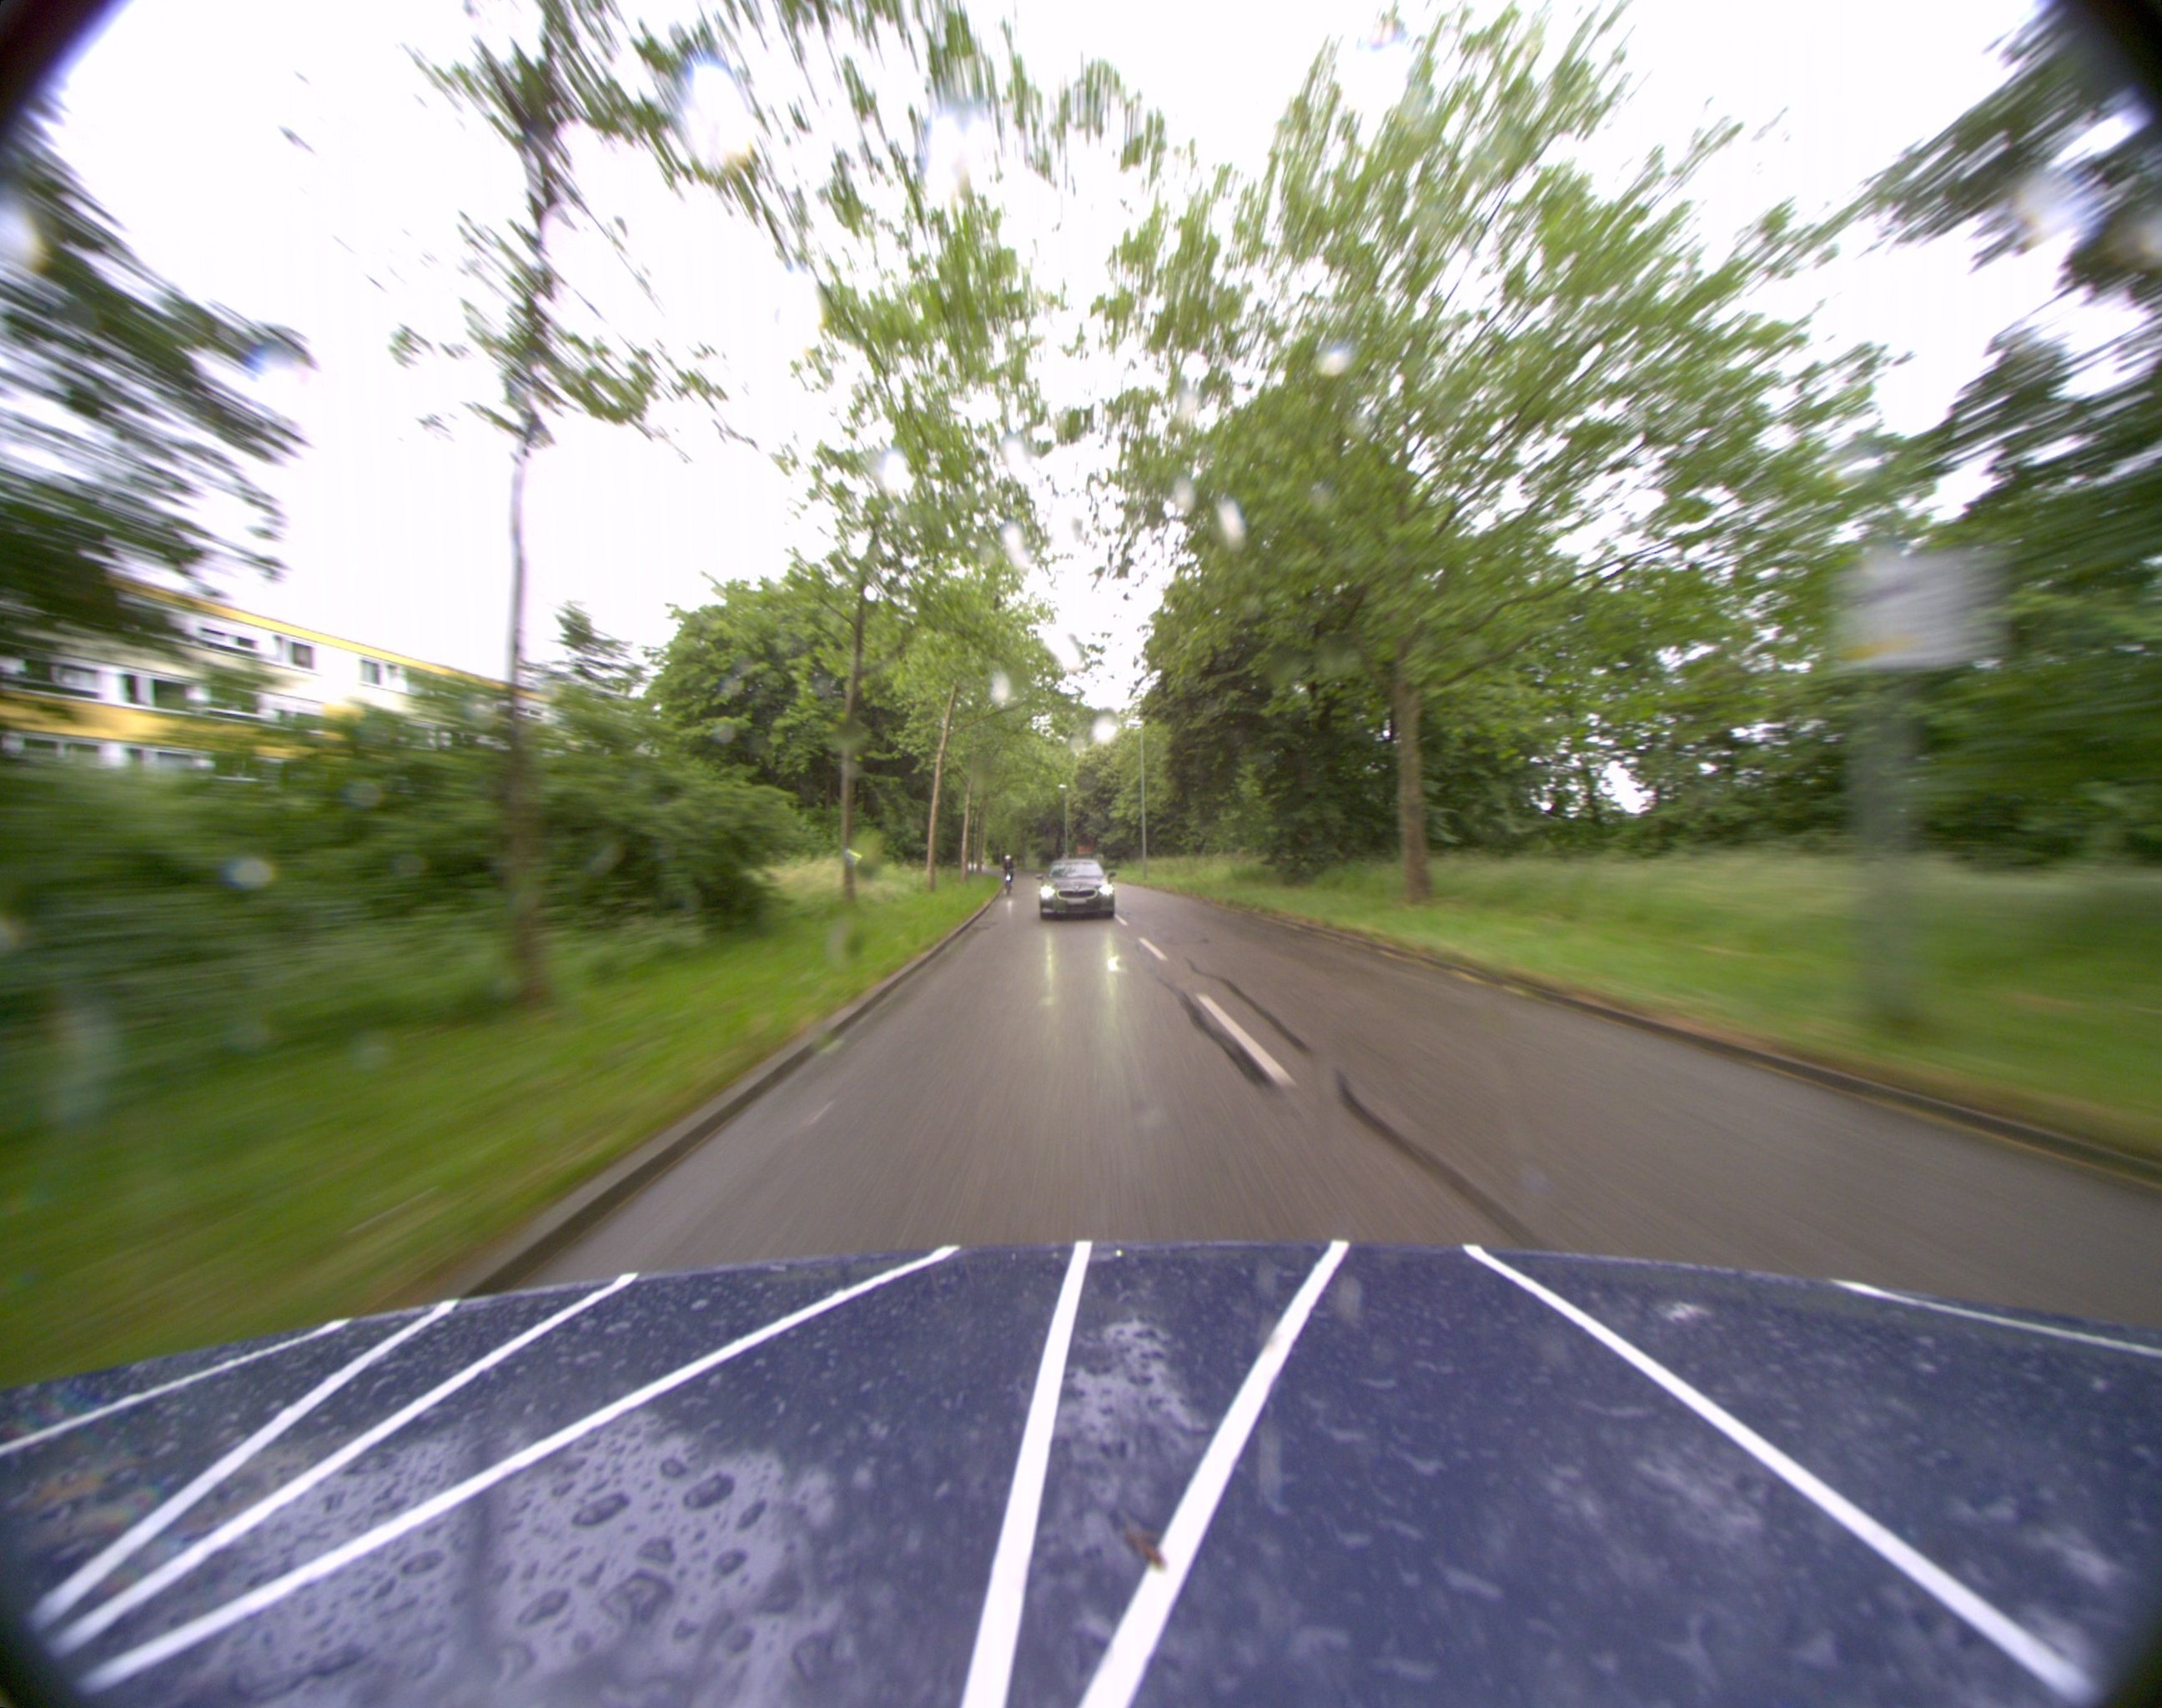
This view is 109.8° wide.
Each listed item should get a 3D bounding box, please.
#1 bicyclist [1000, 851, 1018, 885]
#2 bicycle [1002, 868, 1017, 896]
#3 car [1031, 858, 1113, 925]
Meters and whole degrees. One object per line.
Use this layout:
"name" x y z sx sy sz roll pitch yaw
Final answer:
"bicyclist" -3.179 0.604 33.718 0.698 1.489 0.800 -2 1 -1
"bicycle" -3.169 1.224 33.716 0.453 1.127 1.833 -3 1 -1
"car" -0.123 0.910 20.406 1.843 1.486 4.902 -2 0 3
